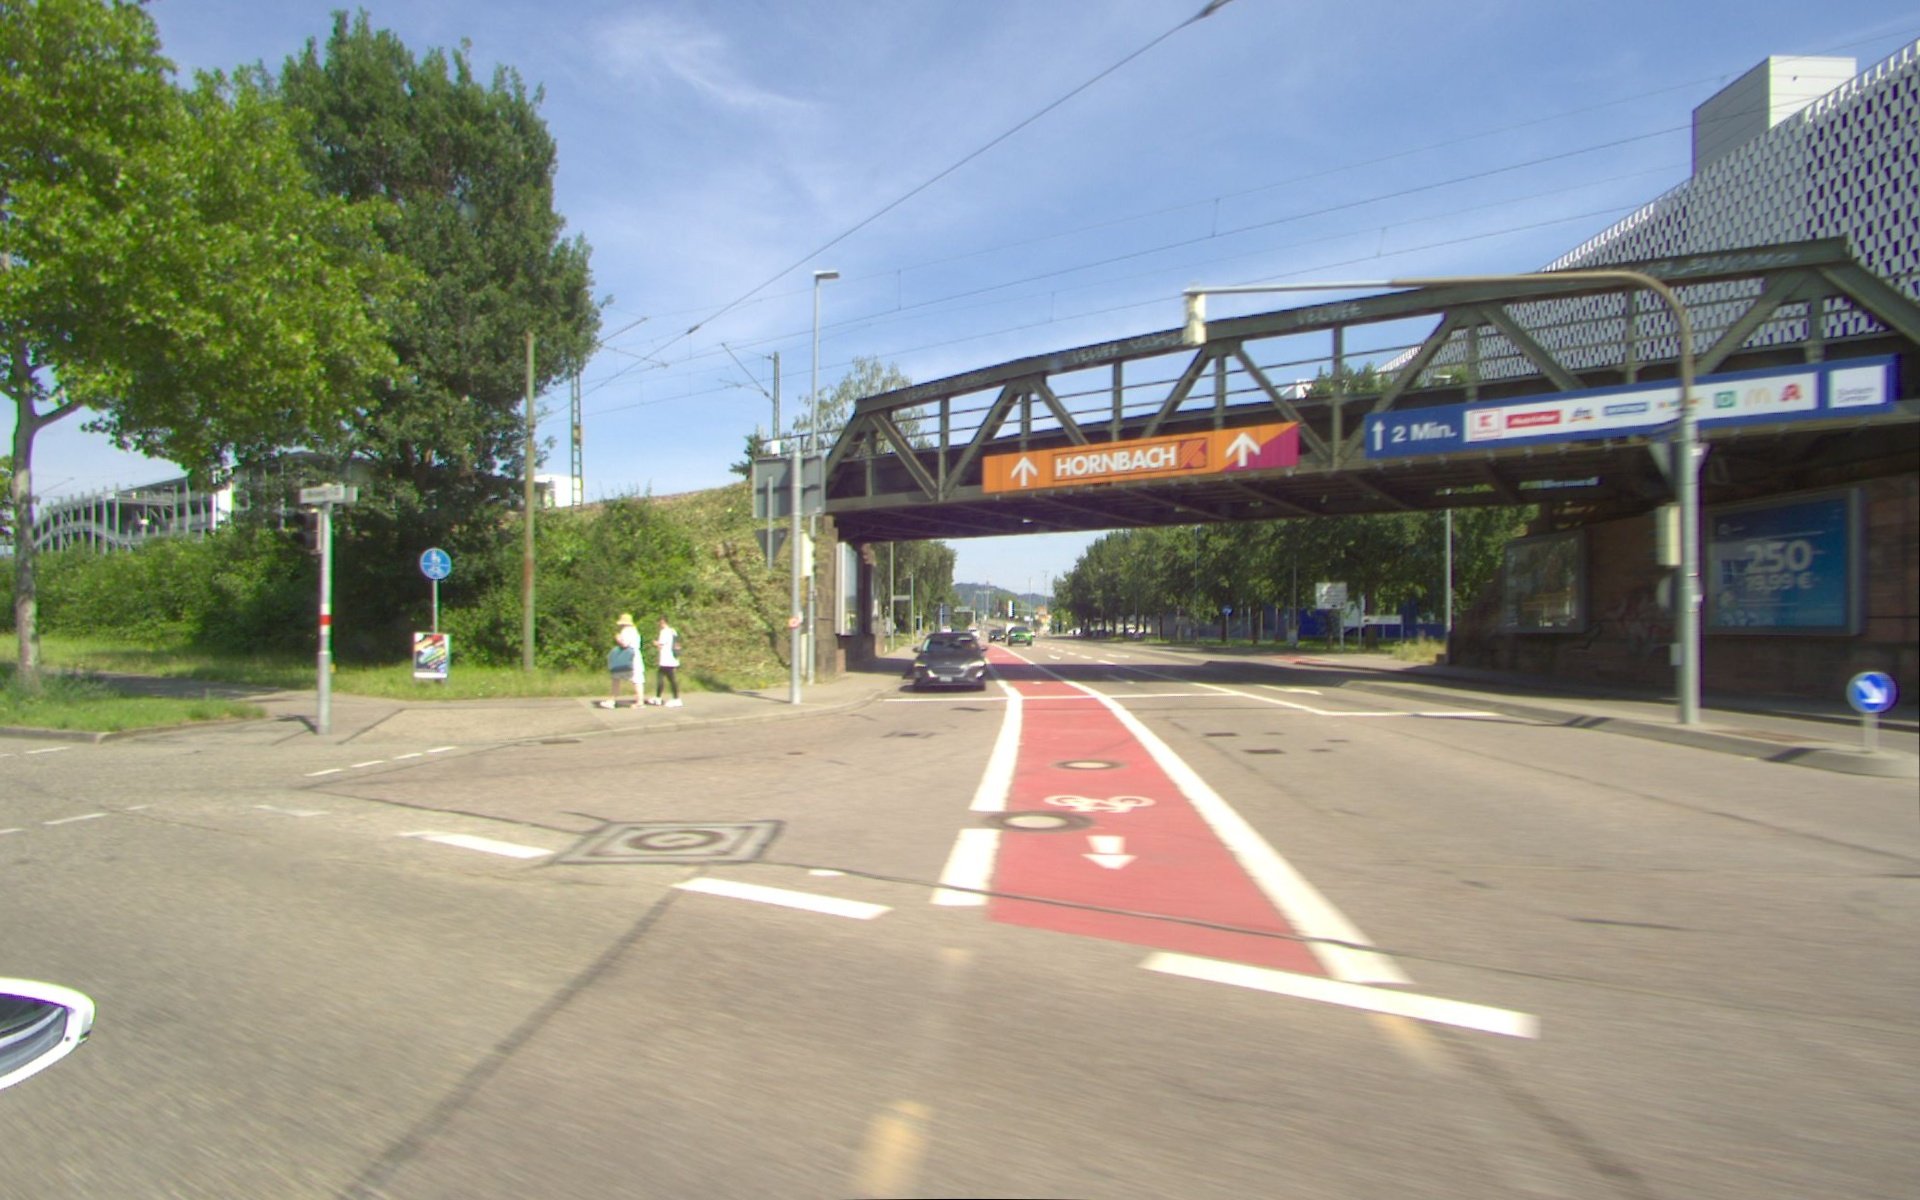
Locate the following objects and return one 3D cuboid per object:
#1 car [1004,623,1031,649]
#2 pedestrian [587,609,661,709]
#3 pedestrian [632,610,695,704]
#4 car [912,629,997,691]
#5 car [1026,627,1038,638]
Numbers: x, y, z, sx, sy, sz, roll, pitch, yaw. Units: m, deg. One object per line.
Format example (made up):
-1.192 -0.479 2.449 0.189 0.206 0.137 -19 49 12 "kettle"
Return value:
4.462 2.813 78.532 1.961 2.039 4.002 1 -2 1 "car"
-5.678 0.977 16.940 0.766 1.632 0.866 0 -1 33 "pedestrian"
-5.196 0.990 17.574 0.766 1.600 0.728 0 -1 34 "pedestrian"
-0.207 1.454 25.433 1.961 1.427 4.502 1 -2 -2 "car"
13.693 6.187 190.249 1.961 2.039 4.002 1 -2 1 "car"
